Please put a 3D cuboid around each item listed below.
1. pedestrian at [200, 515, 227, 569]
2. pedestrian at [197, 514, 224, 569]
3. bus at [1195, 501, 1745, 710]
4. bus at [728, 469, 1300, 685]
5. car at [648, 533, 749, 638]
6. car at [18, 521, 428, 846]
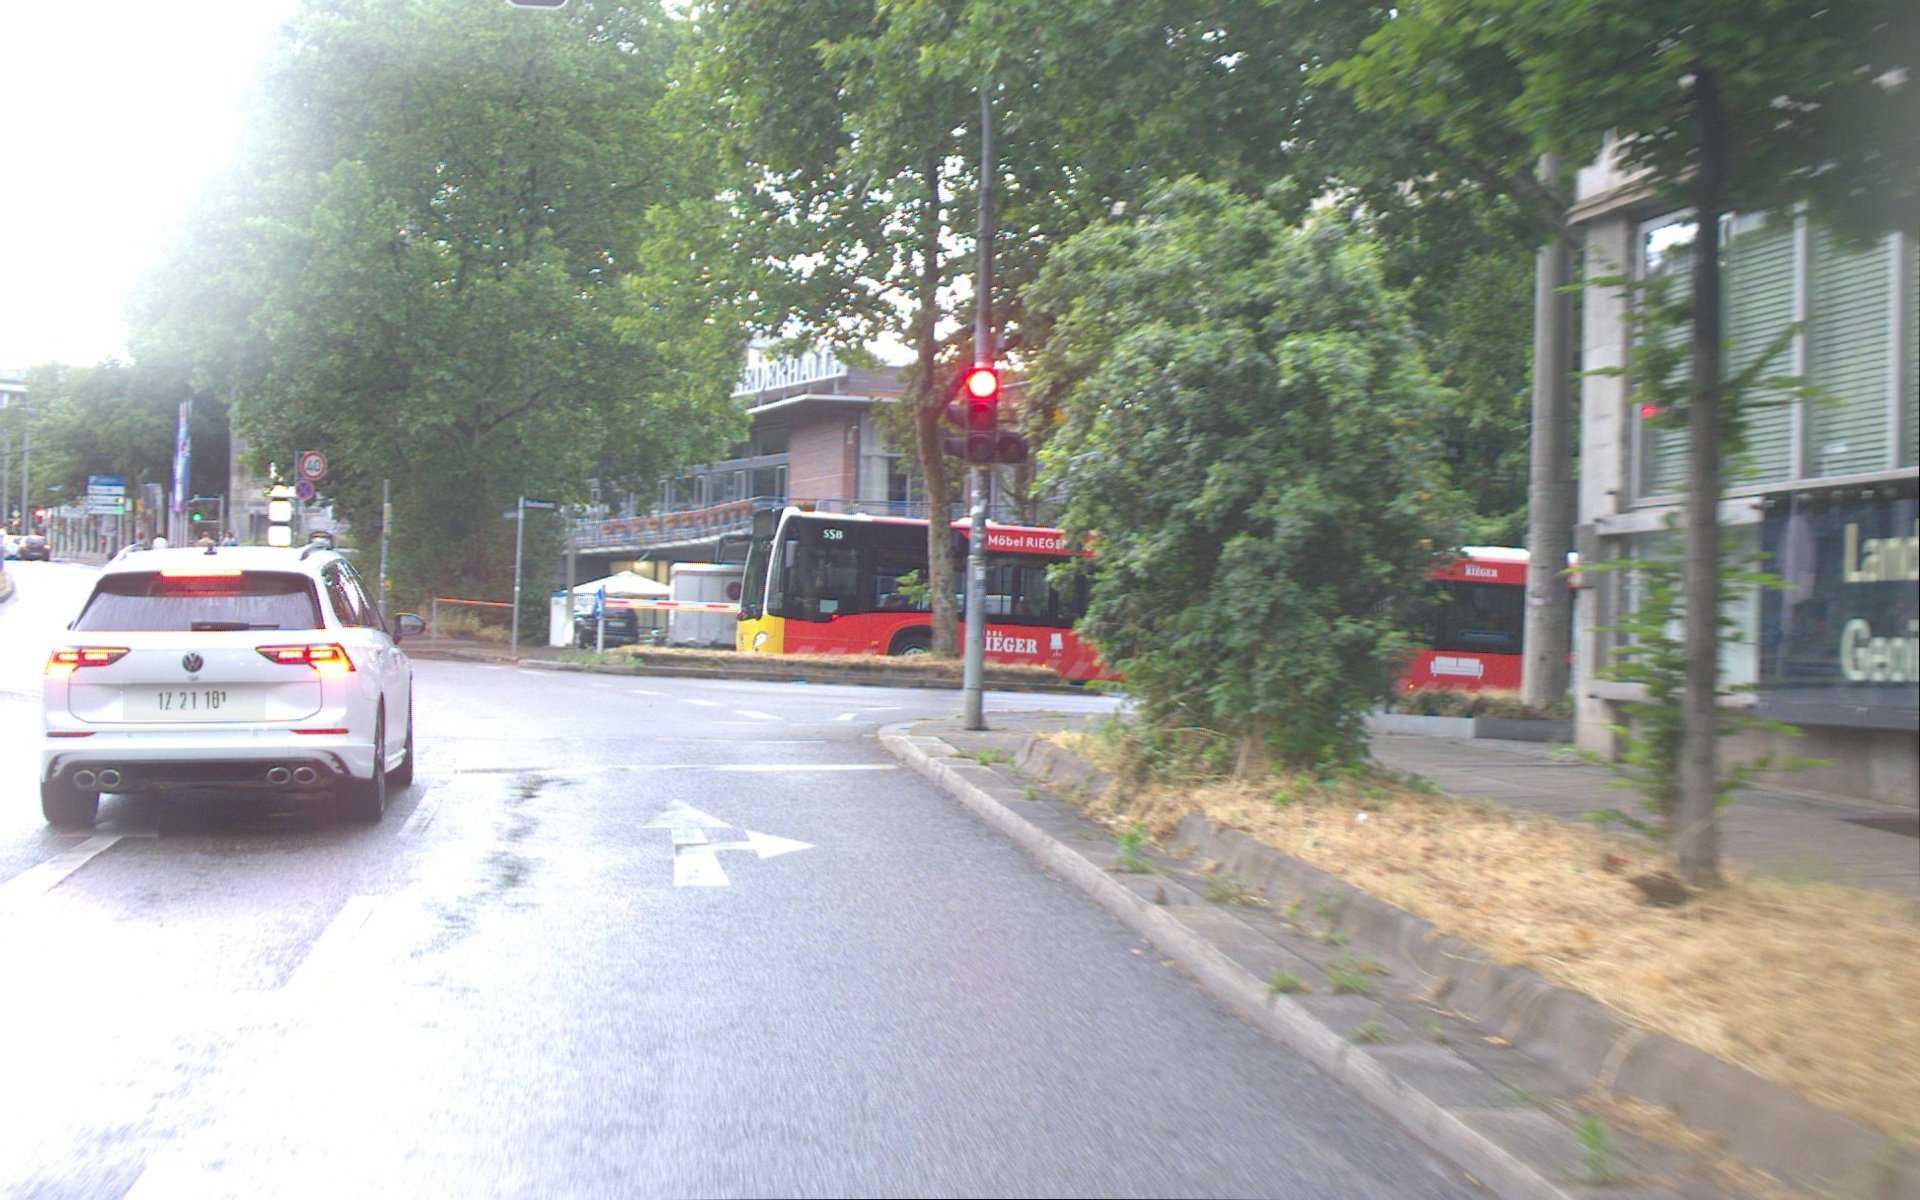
[{"bbox_3d":[-25.932,-2.008,119.418,0.756,1.817,0.701,3,0,-18],"label":"pedestrian"},{"bbox_3d":[-25.712,-2.003,117.914,0.756,1.817,0.701,3,0,-18],"label":"pedestrian"},{"bbox_3d":[9.030,0.108,61.114,9.152,3.100,2.664,3,0,-11],"label":"bus"},{"bbox_3d":[0.904,-0.375,59.583,9.421,3.100,2.559,3,0,-11],"label":"bus"},{"bbox_3d":[-8.363,-0.449,109.616,2.544,3.123,5.032,3,0,-10],"label":"car"},{"bbox_3d":[-3.961,0.366,19.076,1.678,1.571,4.254,1,1,-5],"label":"car"}]
